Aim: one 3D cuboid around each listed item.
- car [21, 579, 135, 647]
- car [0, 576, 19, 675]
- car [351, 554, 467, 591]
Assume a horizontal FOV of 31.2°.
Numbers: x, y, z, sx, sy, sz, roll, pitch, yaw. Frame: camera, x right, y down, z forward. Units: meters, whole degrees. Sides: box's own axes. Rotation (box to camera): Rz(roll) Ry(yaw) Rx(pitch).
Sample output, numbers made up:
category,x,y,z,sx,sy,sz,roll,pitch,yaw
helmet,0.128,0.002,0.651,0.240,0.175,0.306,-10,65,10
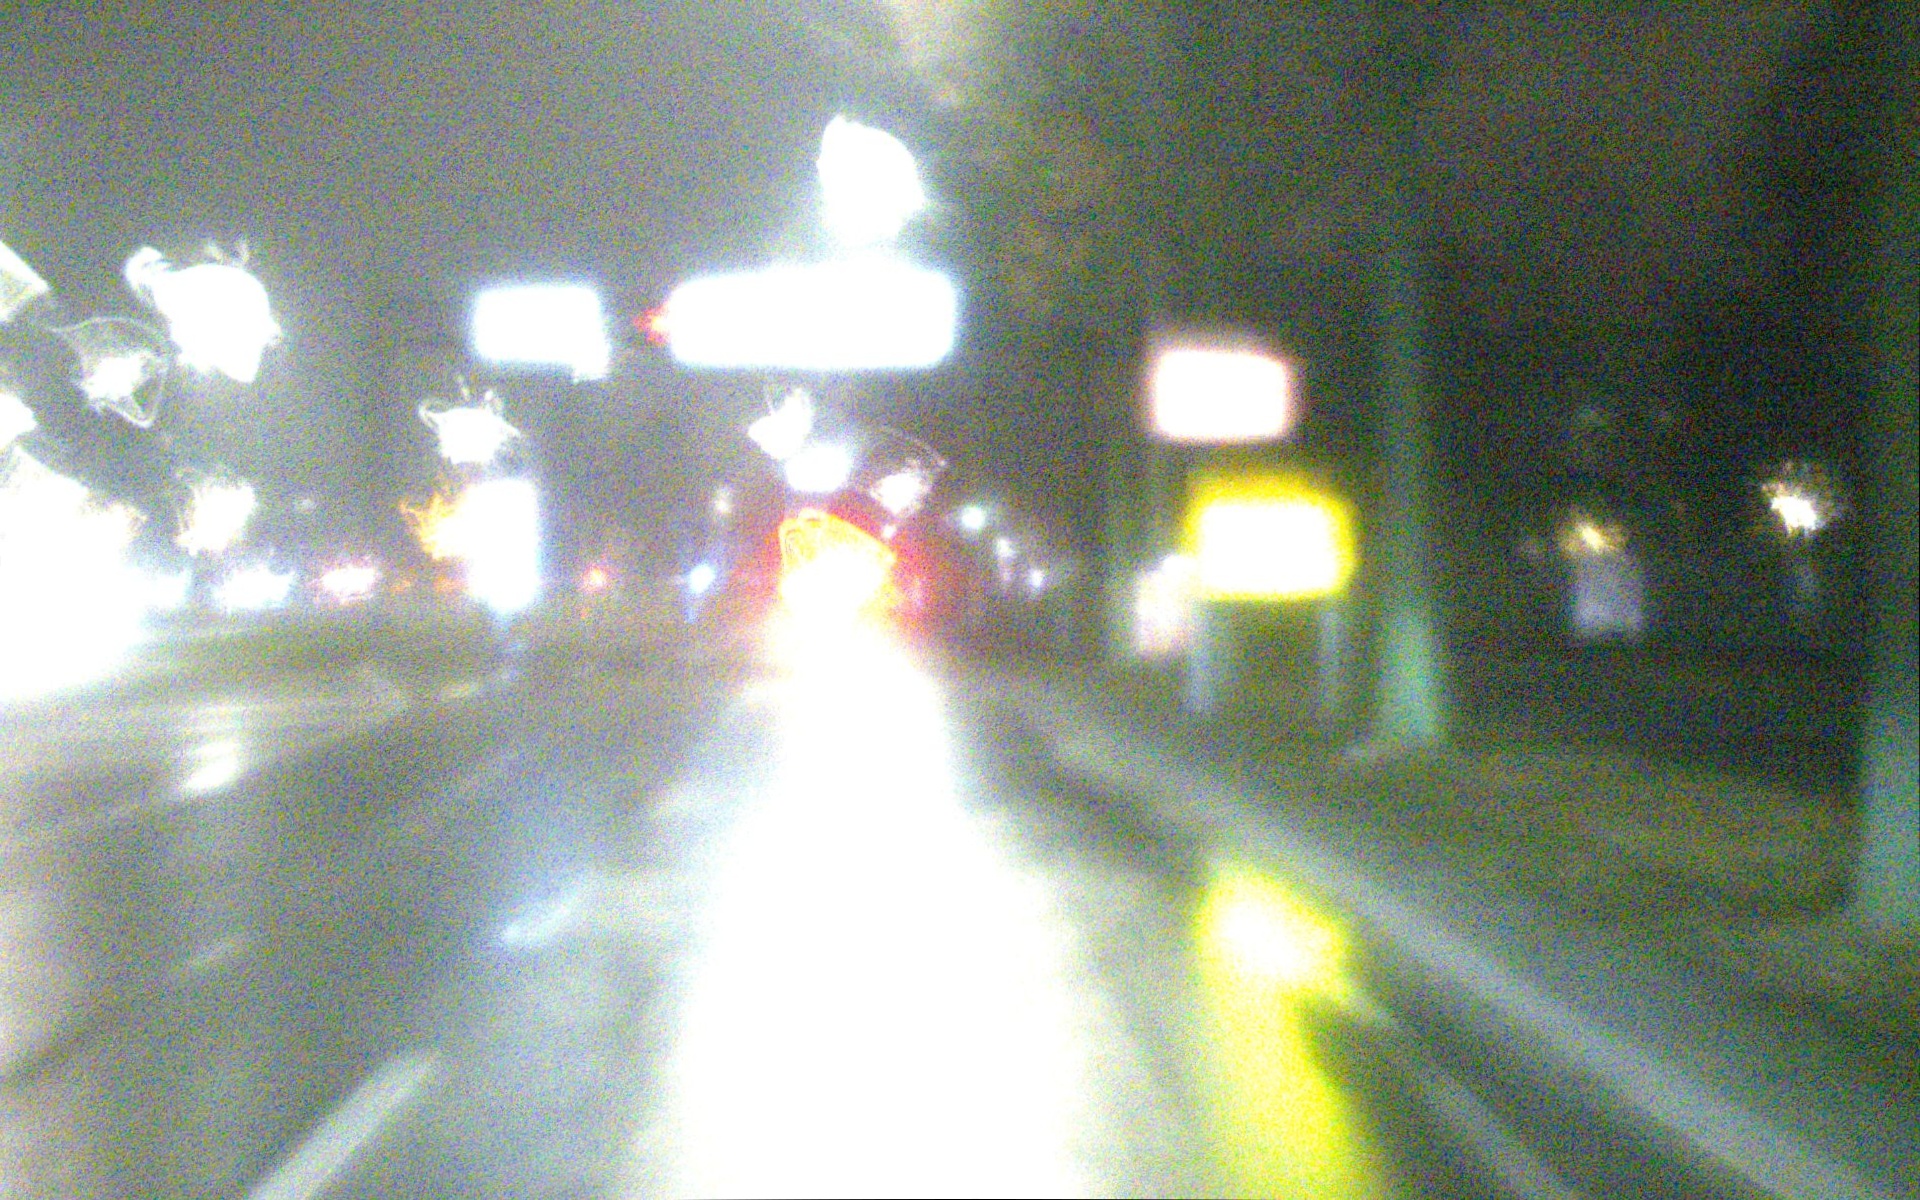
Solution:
category,x,y,z,sx,sy,sz,roll,pitch,yaw
car,-23.133,0.312,90.300,2.024,1.678,4.548,1,1,-3
car,-15.450,0.395,50.993,1.843,1.481,4.366,1,1,-1
car,-32.497,-1.603,202.831,6.292,2.082,2.516,0,1,-27
